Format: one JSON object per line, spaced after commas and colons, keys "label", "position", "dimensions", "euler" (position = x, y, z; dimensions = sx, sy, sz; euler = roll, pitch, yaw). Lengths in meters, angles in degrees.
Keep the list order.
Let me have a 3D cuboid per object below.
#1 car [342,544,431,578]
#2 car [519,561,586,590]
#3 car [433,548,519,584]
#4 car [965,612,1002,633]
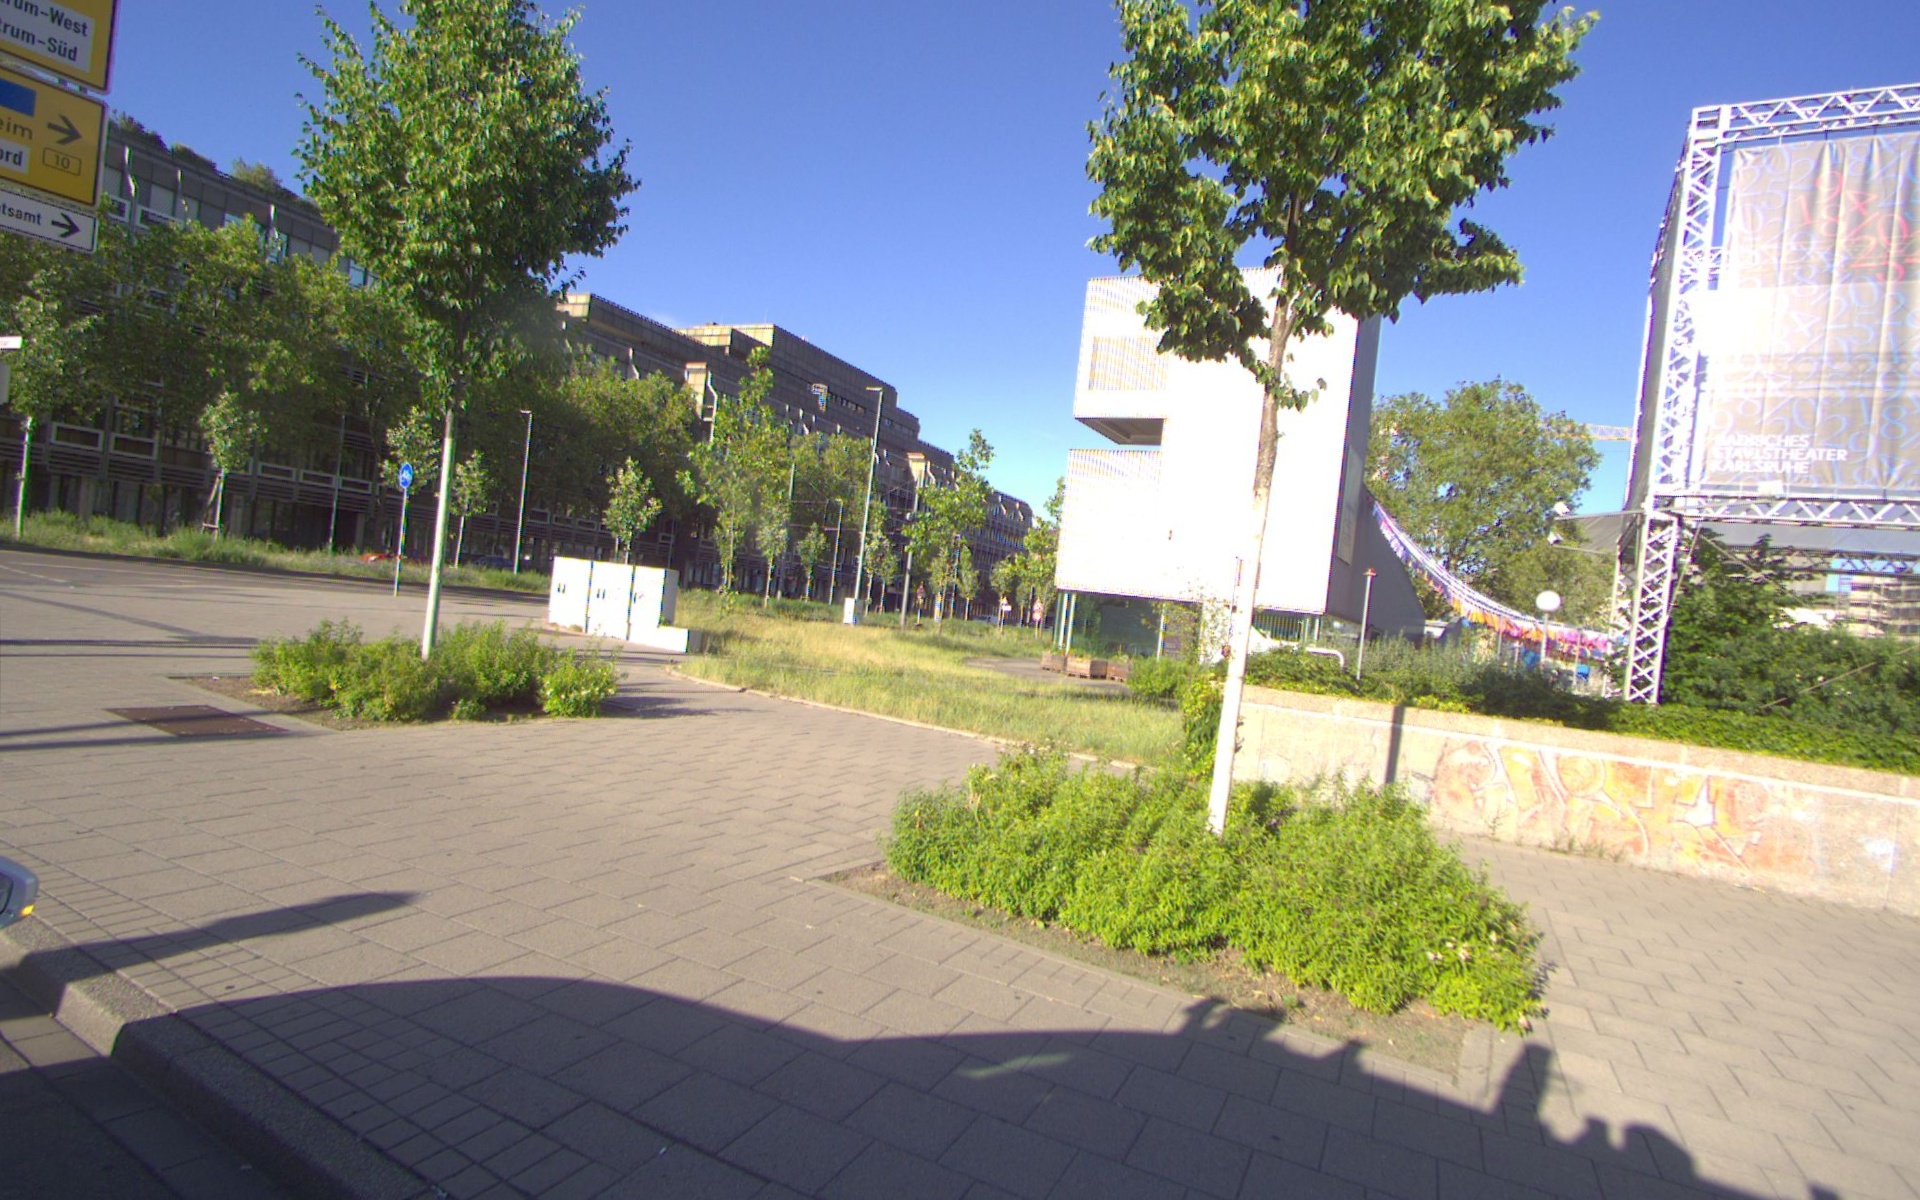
{"label": "car", "position": [-31.686, -2.139, 55.684], "dimensions": [1.815, 1.504, 3.875], "euler": [3, -2, 28]}
{"label": "car", "position": [-29.003, -1.719, 71.676], "dimensions": [1.966, 1.539, 3.995], "euler": [7, 0, 29]}
{"label": "car", "position": [-31.784, -2.220, 66.169], "dimensions": [1.964, 1.700, 4.868], "euler": [8, -1, 23]}
{"label": "car", "position": [2.915, 2.752, 121.933], "dimensions": [2.226, 2.038, 5.705], "euler": [4, -2, 25]}
